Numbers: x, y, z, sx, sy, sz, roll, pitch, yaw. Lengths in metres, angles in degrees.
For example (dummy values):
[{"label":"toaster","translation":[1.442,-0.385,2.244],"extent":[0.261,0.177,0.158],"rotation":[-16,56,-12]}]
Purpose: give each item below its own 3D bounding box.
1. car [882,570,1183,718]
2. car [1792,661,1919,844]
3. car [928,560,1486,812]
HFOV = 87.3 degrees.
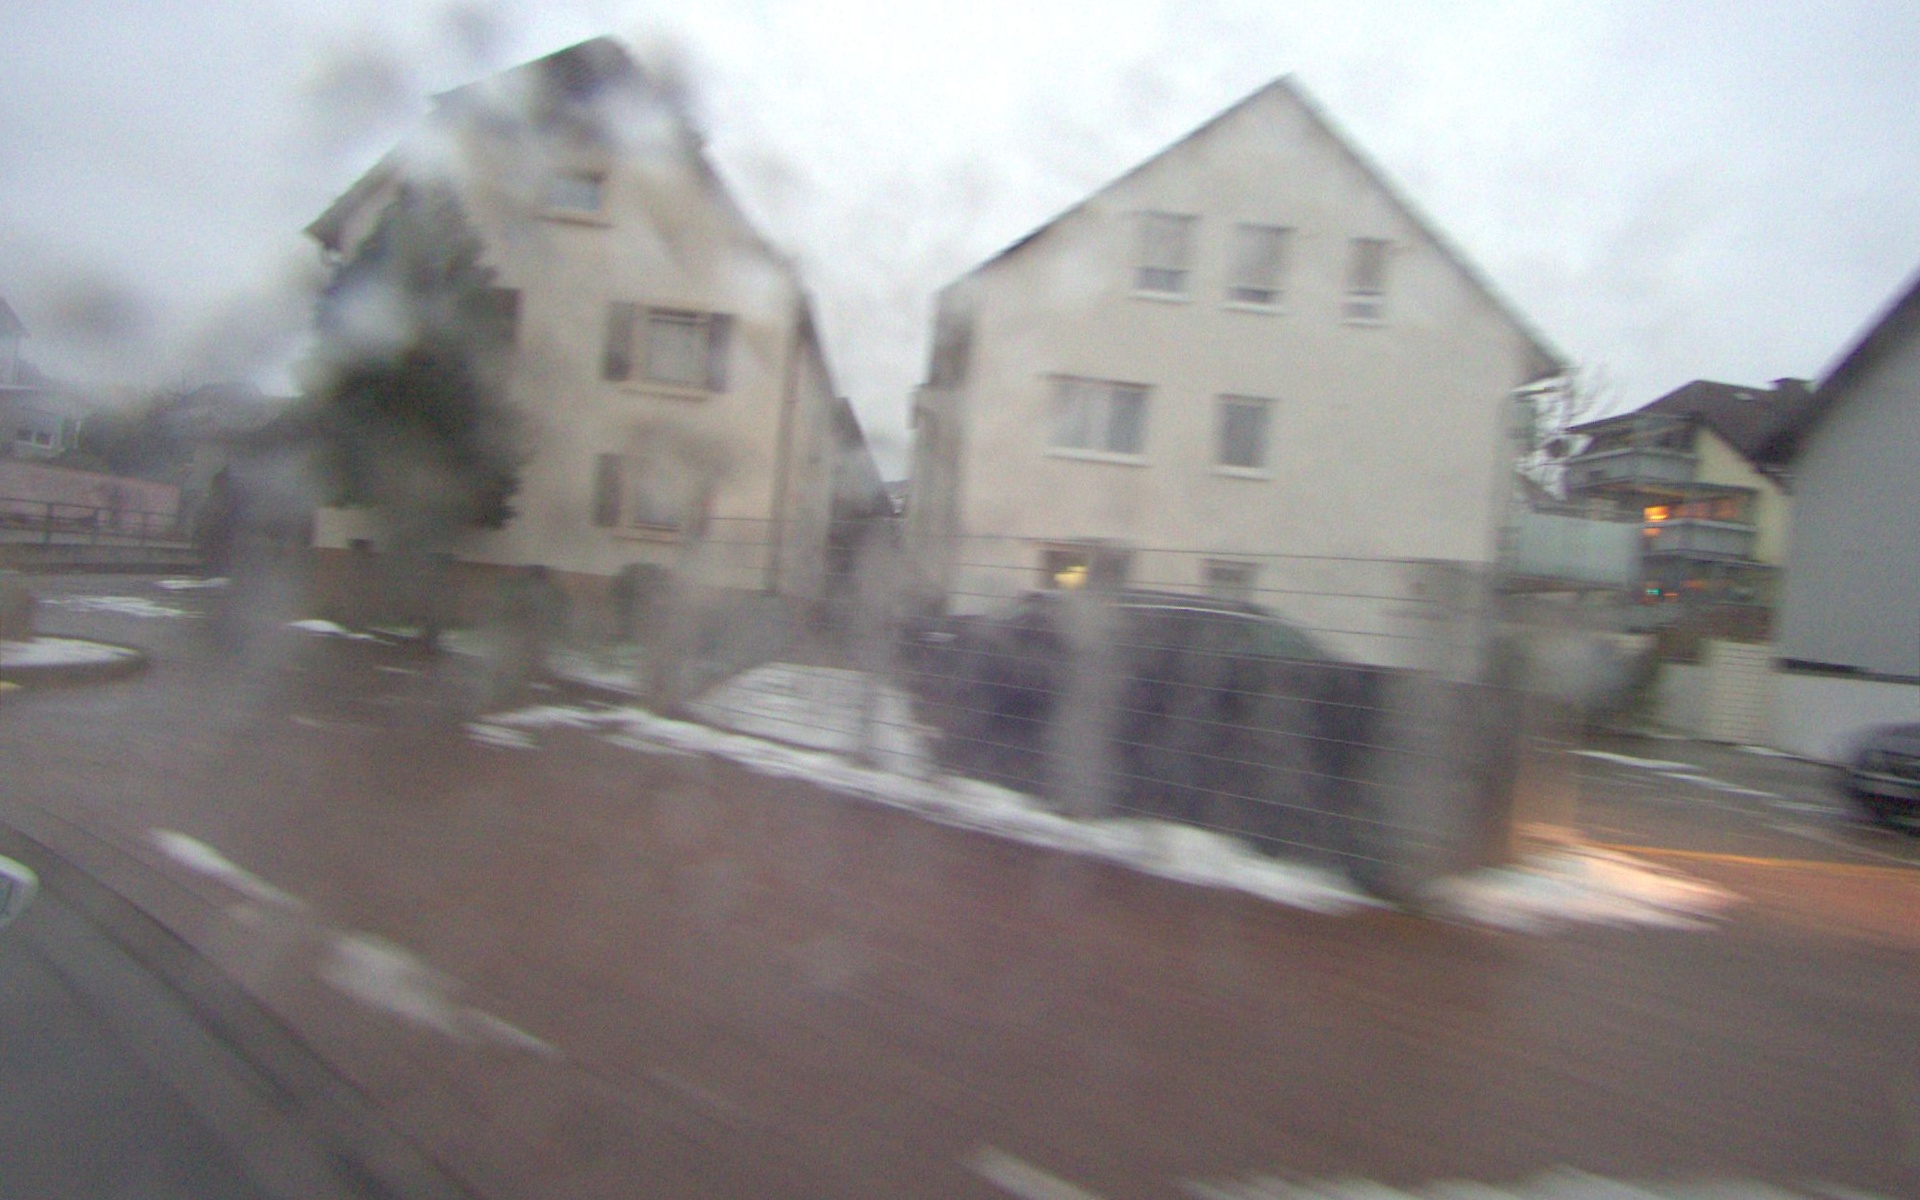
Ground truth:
[{"label":"car","translation":[0.939,0.582,14.459],"extent":[3.929,1.587,1.811],"rotation":[6,2,-6]},{"label":"car","translation":[11.317,1.740,10.330],"extent":[4.063,1.654,1.811],"rotation":[6,2,-6]},{"label":"car","translation":[2.065,0.712,9.193],"extent":[4.471,1.650,1.811],"rotation":[6,2,-6]}]
